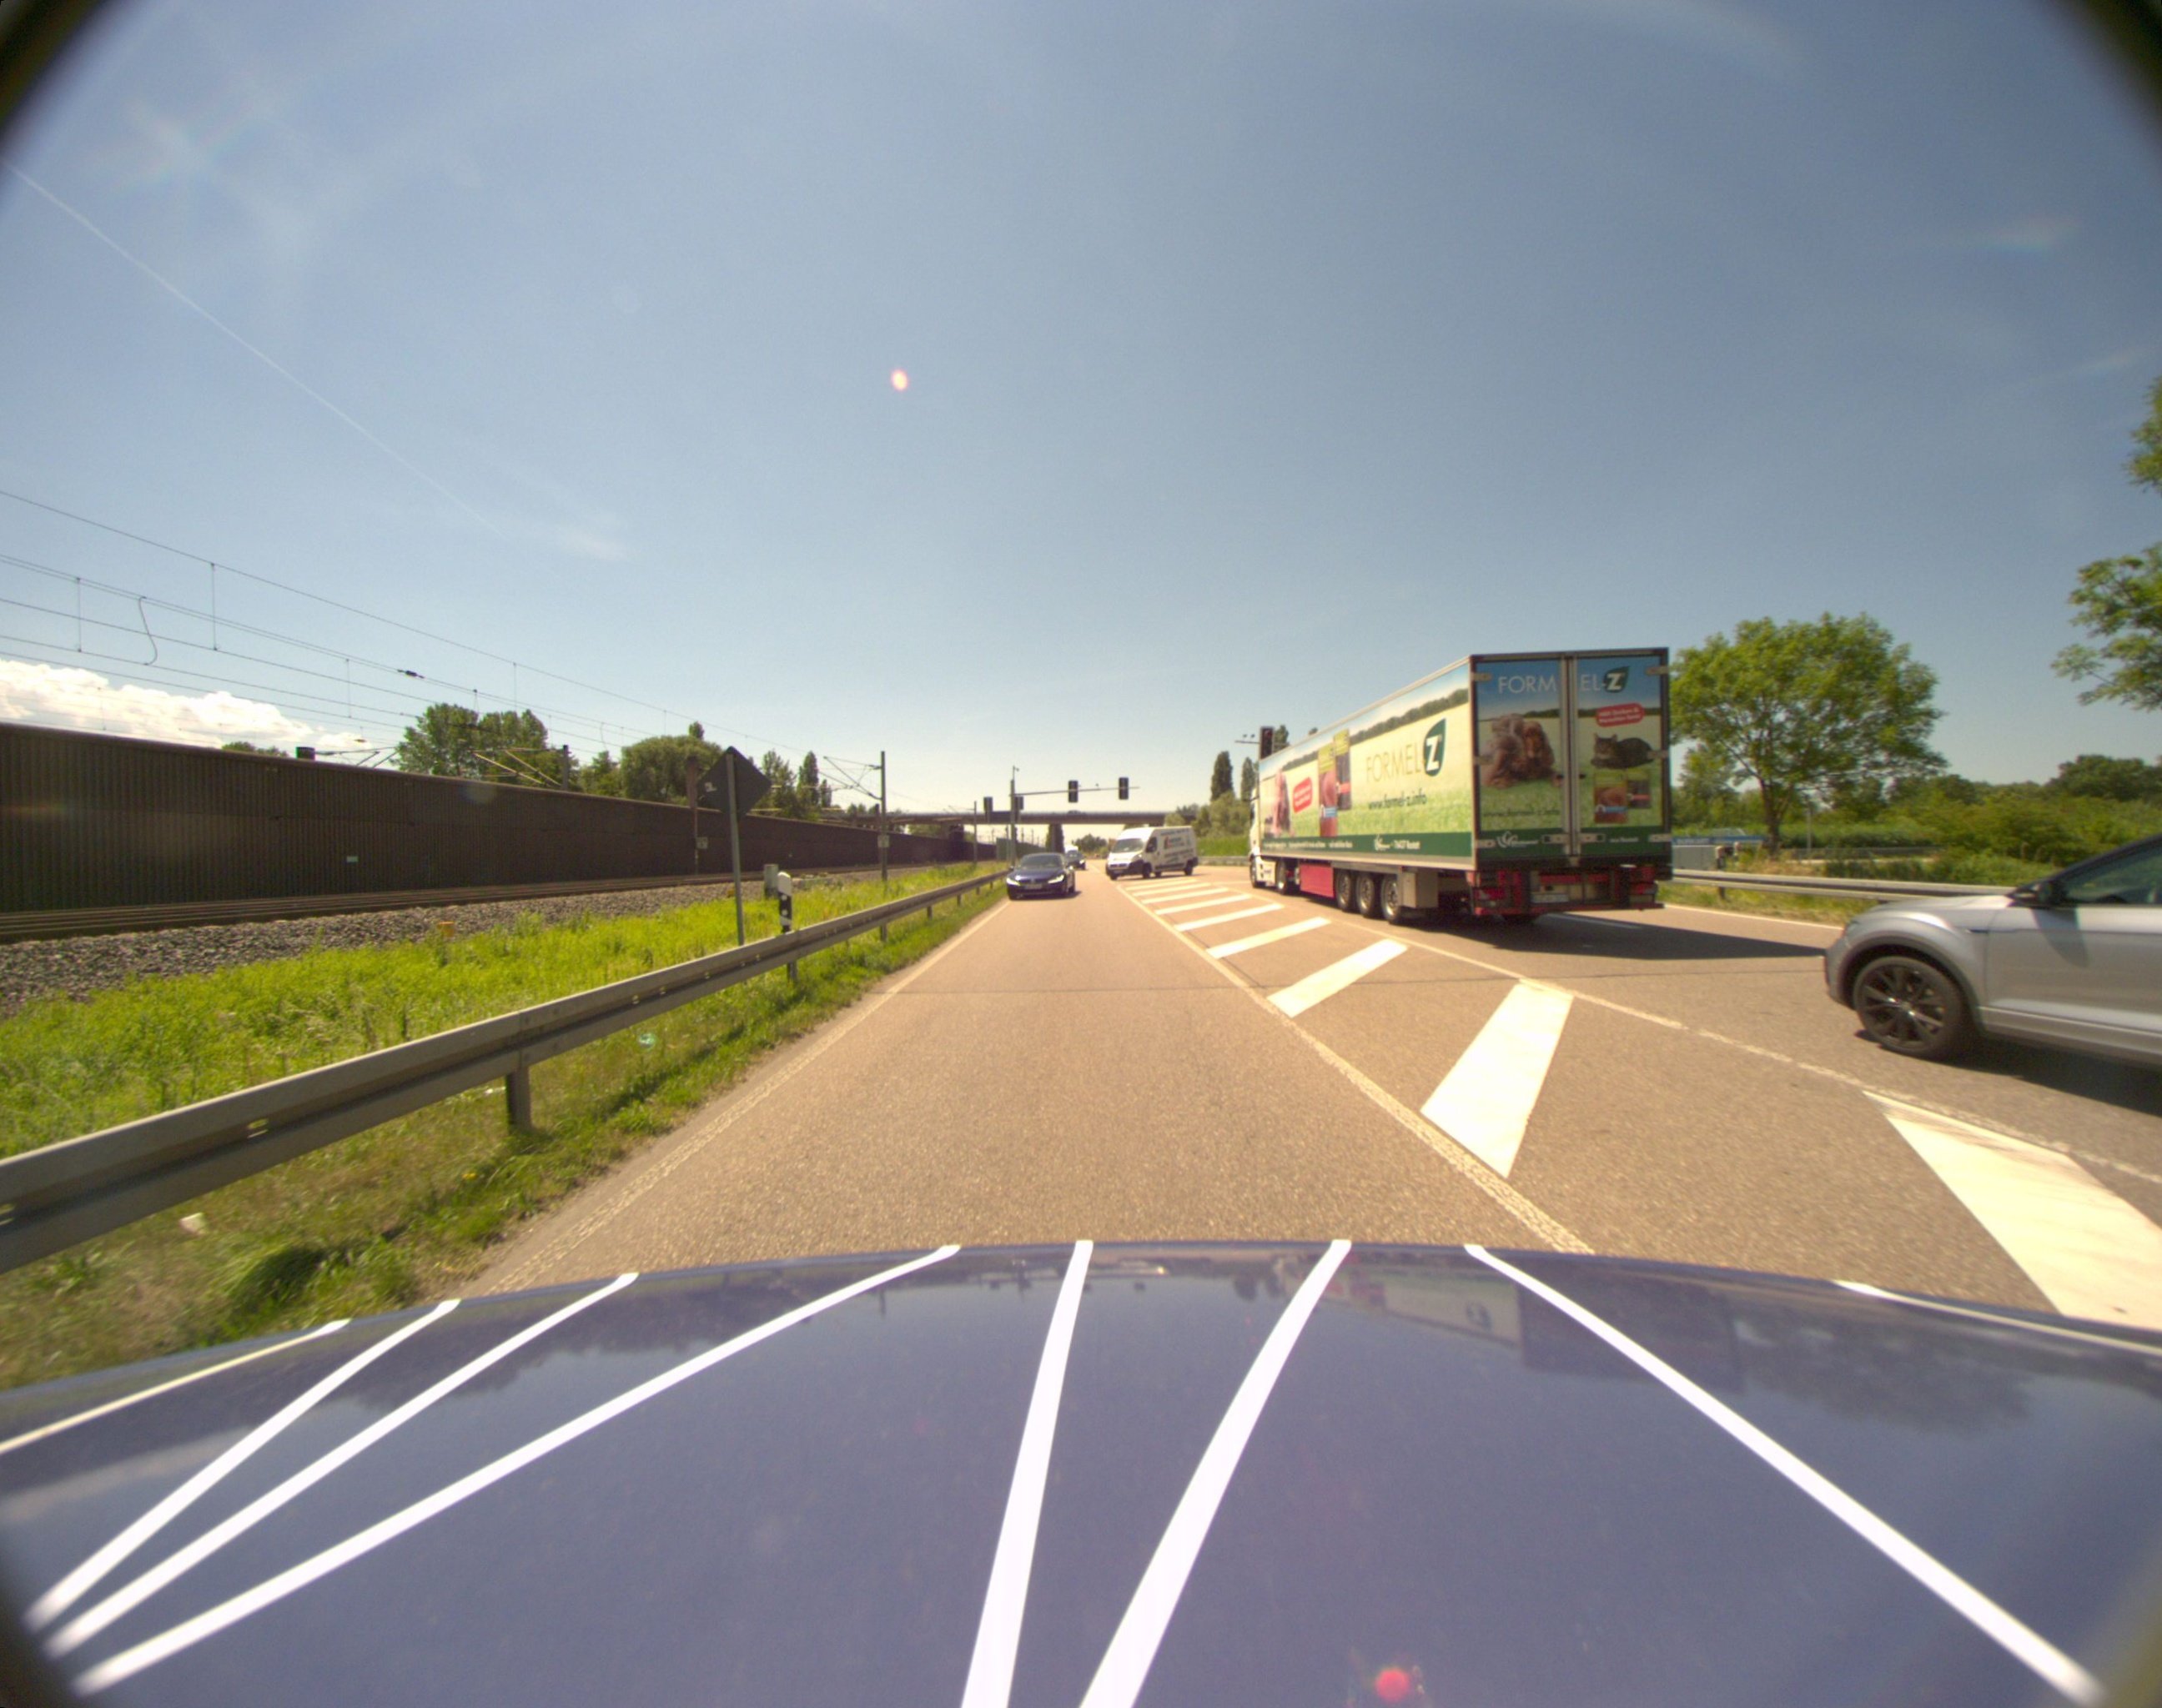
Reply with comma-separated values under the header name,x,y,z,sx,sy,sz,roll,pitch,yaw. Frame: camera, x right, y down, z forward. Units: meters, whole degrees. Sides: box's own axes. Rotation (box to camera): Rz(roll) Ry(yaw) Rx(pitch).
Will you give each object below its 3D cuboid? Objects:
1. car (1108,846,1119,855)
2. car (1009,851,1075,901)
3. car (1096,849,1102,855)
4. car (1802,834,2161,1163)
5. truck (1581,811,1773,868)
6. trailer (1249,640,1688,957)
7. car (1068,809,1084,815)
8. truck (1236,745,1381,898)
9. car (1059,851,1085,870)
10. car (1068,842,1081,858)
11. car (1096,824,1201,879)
name,x,y,z,sx,sy,sz,roll,pitch,yaw
car,5.832,-0.608,136.907,1.642,1.587,3.560,-1,0,-3
car,-1.201,0.662,25.305,1.847,1.415,4.562,-2,1,1
car,5.203,-0.632,216.823,1.589,1.553,3.687,-2,0,1
car,6.019,0.687,3.401,1.716,1.553,4.154,-2,1,2
truck,35.350,-0.852,45.328,9.168,3.177,2.696,-1,1,2
trailer,6.623,-0.815,16.967,2.696,4.022,14.122,-2,1,1
car,-1.093,-9.191,166.176,3.623,1.359,1.502,-1,-1,2
truck,6.756,-0.910,23.477,2.696,4.022,5.824,-2,1,1
car,-0.654,0.457,59.039,1.911,1.356,4.648,-2,0,1
car,-1.009,-0.586,117.810,1.911,2.427,4.648,-2,0,1
car,3.448,-0.192,37.455,2.223,2.481,5.994,-1,1,38
